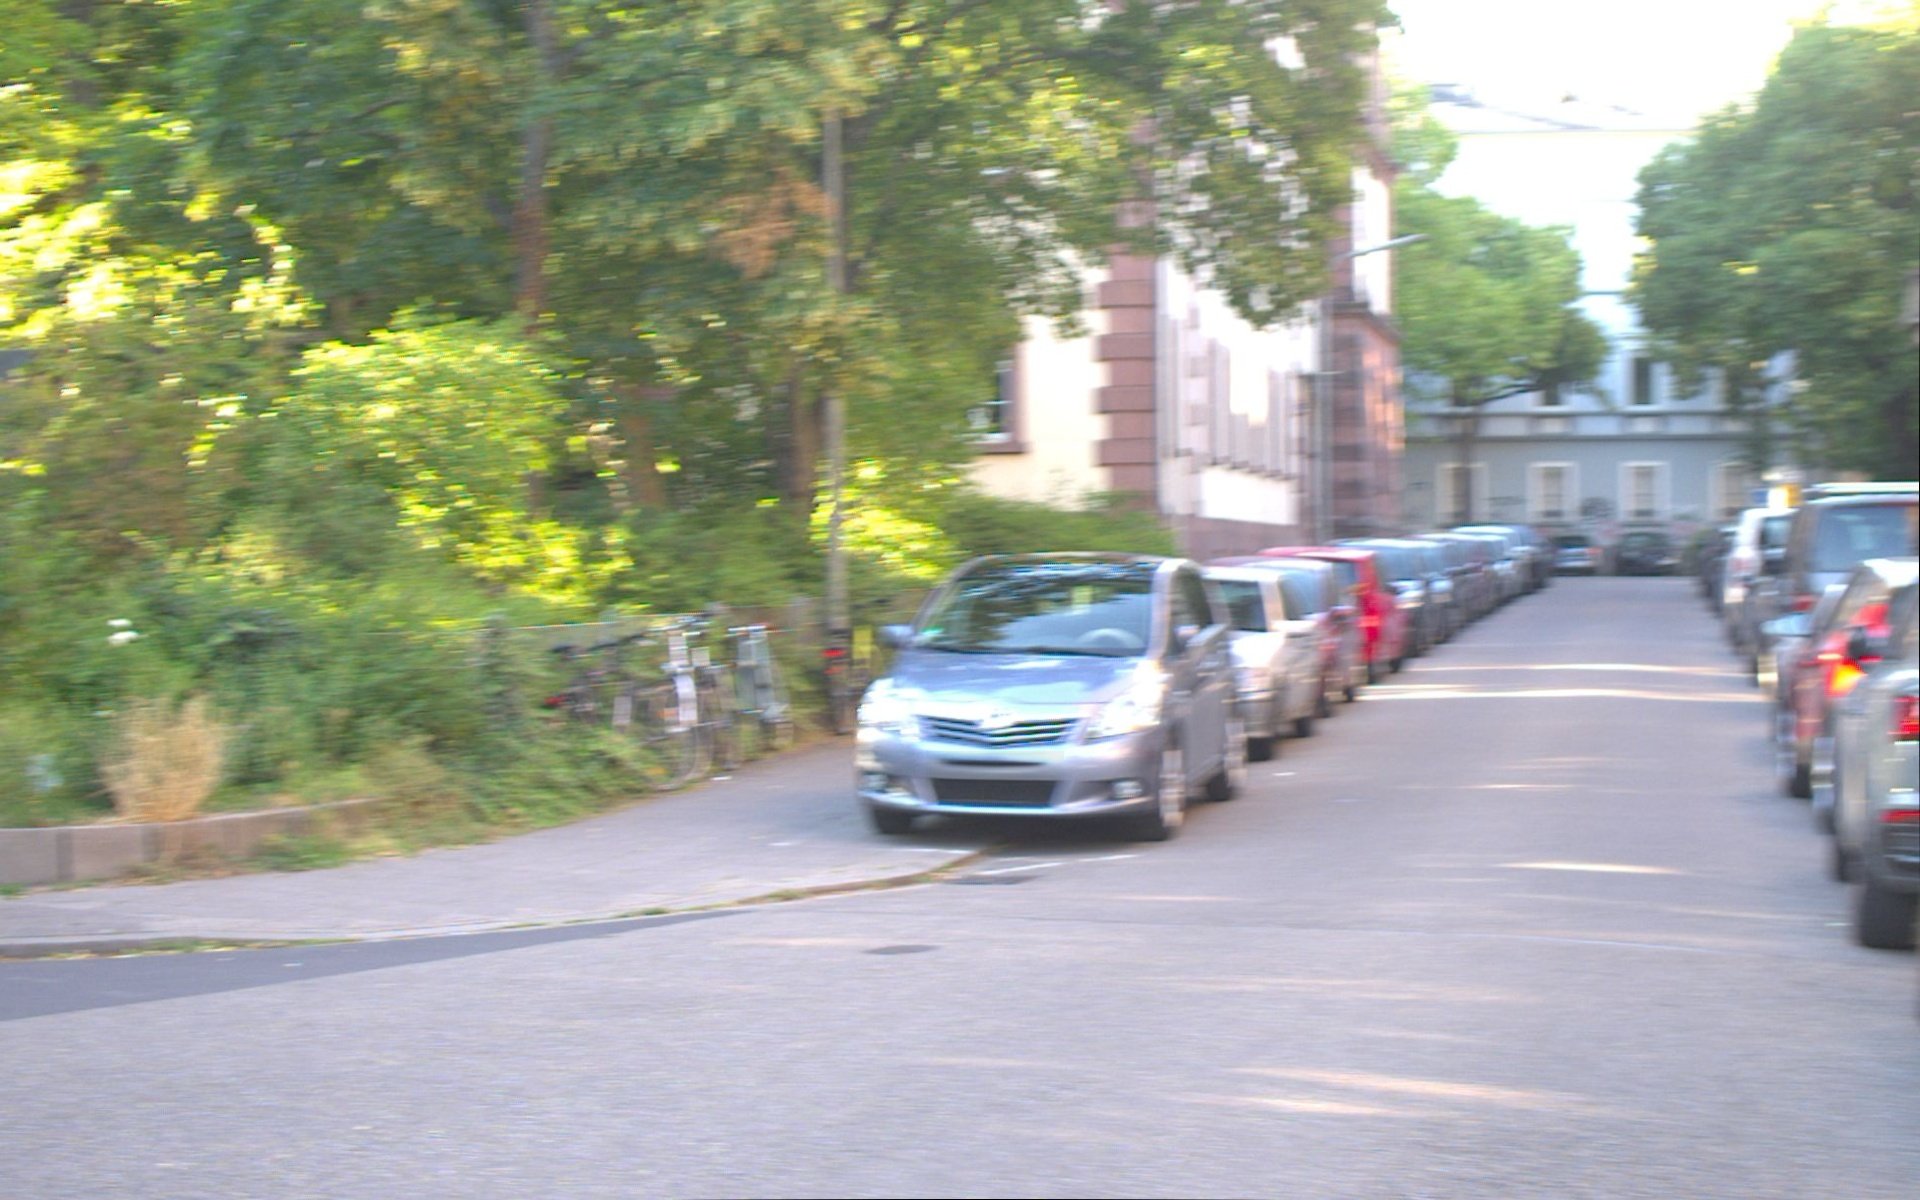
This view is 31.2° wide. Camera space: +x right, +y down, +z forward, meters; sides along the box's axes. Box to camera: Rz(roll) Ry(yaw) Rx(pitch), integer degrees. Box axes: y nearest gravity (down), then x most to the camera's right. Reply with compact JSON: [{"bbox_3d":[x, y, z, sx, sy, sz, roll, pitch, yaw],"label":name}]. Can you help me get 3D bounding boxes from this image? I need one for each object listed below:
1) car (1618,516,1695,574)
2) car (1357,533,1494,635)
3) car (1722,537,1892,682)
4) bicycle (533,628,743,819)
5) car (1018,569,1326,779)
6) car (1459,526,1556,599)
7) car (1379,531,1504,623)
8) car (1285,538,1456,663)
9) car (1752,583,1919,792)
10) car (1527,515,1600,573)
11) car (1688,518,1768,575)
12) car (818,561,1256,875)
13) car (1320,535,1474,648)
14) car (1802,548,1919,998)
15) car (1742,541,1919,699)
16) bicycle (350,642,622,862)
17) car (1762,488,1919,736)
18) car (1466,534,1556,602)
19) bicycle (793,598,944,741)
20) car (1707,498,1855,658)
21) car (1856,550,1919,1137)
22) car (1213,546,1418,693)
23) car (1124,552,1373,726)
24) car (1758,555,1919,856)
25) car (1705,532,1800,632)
[{"bbox_3d":[21.924,-1.713,108.292,1.994,1.678,3.999,1,-1,6],"label":"car"},{"bbox_3d":[7.570,-0.285,55.617,1.827,1.495,3.929,3,2,12],"label":"car"},{"bbox_3d":[10.268,0.072,41.889,1.798,1.617,3.953,2,1,12],"label":"car"},{"bbox_3d":[-2.045,0.763,22.240,0.597,1.097,2.626,0,1,12],"label":"bicycle"},{"bbox_3d":[1.778,0.530,27.548,1.827,1.442,3.929,3,2,12],"label":"car"},{"bbox_3d":[12.130,-0.849,76.021,1.827,1.495,3.929,3,2,12],"label":"car"},{"bbox_3d":[8.523,-0.426,60.640,1.827,1.495,3.929,3,2,12],"label":"car"},{"bbox_3d":[5.483,-0.033,45.567,1.827,1.495,3.929,3,2,12],"label":"car"},{"bbox_3d":[6.867,0.605,25.497,1.798,1.340,3.953,2,1,12],"label":"car"},{"bbox_3d":[19.038,-1.761,108.554,1.994,1.678,3.999,1,-1,6],"label":"car"},{"bbox_3d":[24.195,-1.672,108.446,1.994,1.678,3.999,1,-1,6],"label":"car"},{"bbox_3d":[0.591,0.620,21.066,1.827,1.609,4.289,3,2,12],"label":"car"},{"bbox_3d":[6.440,-0.153,50.347,1.827,1.495,3.929,3,2,12],"label":"car"},{"bbox_3d":[4.809,0.674,15.368,1.827,1.717,4.541,3,2,12],"label":"car"},{"bbox_3d":[9.321,0.169,36.630,1.798,1.518,3.953,2,1,12],"label":"car"},{"bbox_3d":[-2.651,0.822,19.592,0.597,1.097,2.626,0,1,14],"label":"bicycle"},{"bbox_3d":[8.294,0.077,31.193,1.798,2.065,3.953,2,1,12],"label":"car"},{"bbox_3d":[13.010,-0.771,81.050,1.827,1.495,3.929,3,2,12],"label":"car"},{"bbox_3d":[-0.737,0.553,28.620,0.597,1.097,2.626,0,1,13],"label":"bicycle"},{"bbox_3d":[11.361,-0.330,47.753,1.798,2.065,3.953,2,1,12],"label":"car"},{"bbox_3d":[3.844,0.719,10.320,1.917,1.651,4.185,3,1,11],"label":"car"},{"bbox_3d":[4.079,0.176,38.951,1.827,1.495,3.929,3,2,12],"label":"car"},{"bbox_3d":[2.832,0.321,33.014,1.827,1.473,3.929,3,2,12],"label":"car"},{"bbox_3d":[5.905,0.578,20.776,1.798,1.608,3.954,2,1,10],"label":"car"},{"bbox_3d":[16.884,-0.410,73.370,1.798,2.010,3.953,2,1,12],"label":"car"}]
